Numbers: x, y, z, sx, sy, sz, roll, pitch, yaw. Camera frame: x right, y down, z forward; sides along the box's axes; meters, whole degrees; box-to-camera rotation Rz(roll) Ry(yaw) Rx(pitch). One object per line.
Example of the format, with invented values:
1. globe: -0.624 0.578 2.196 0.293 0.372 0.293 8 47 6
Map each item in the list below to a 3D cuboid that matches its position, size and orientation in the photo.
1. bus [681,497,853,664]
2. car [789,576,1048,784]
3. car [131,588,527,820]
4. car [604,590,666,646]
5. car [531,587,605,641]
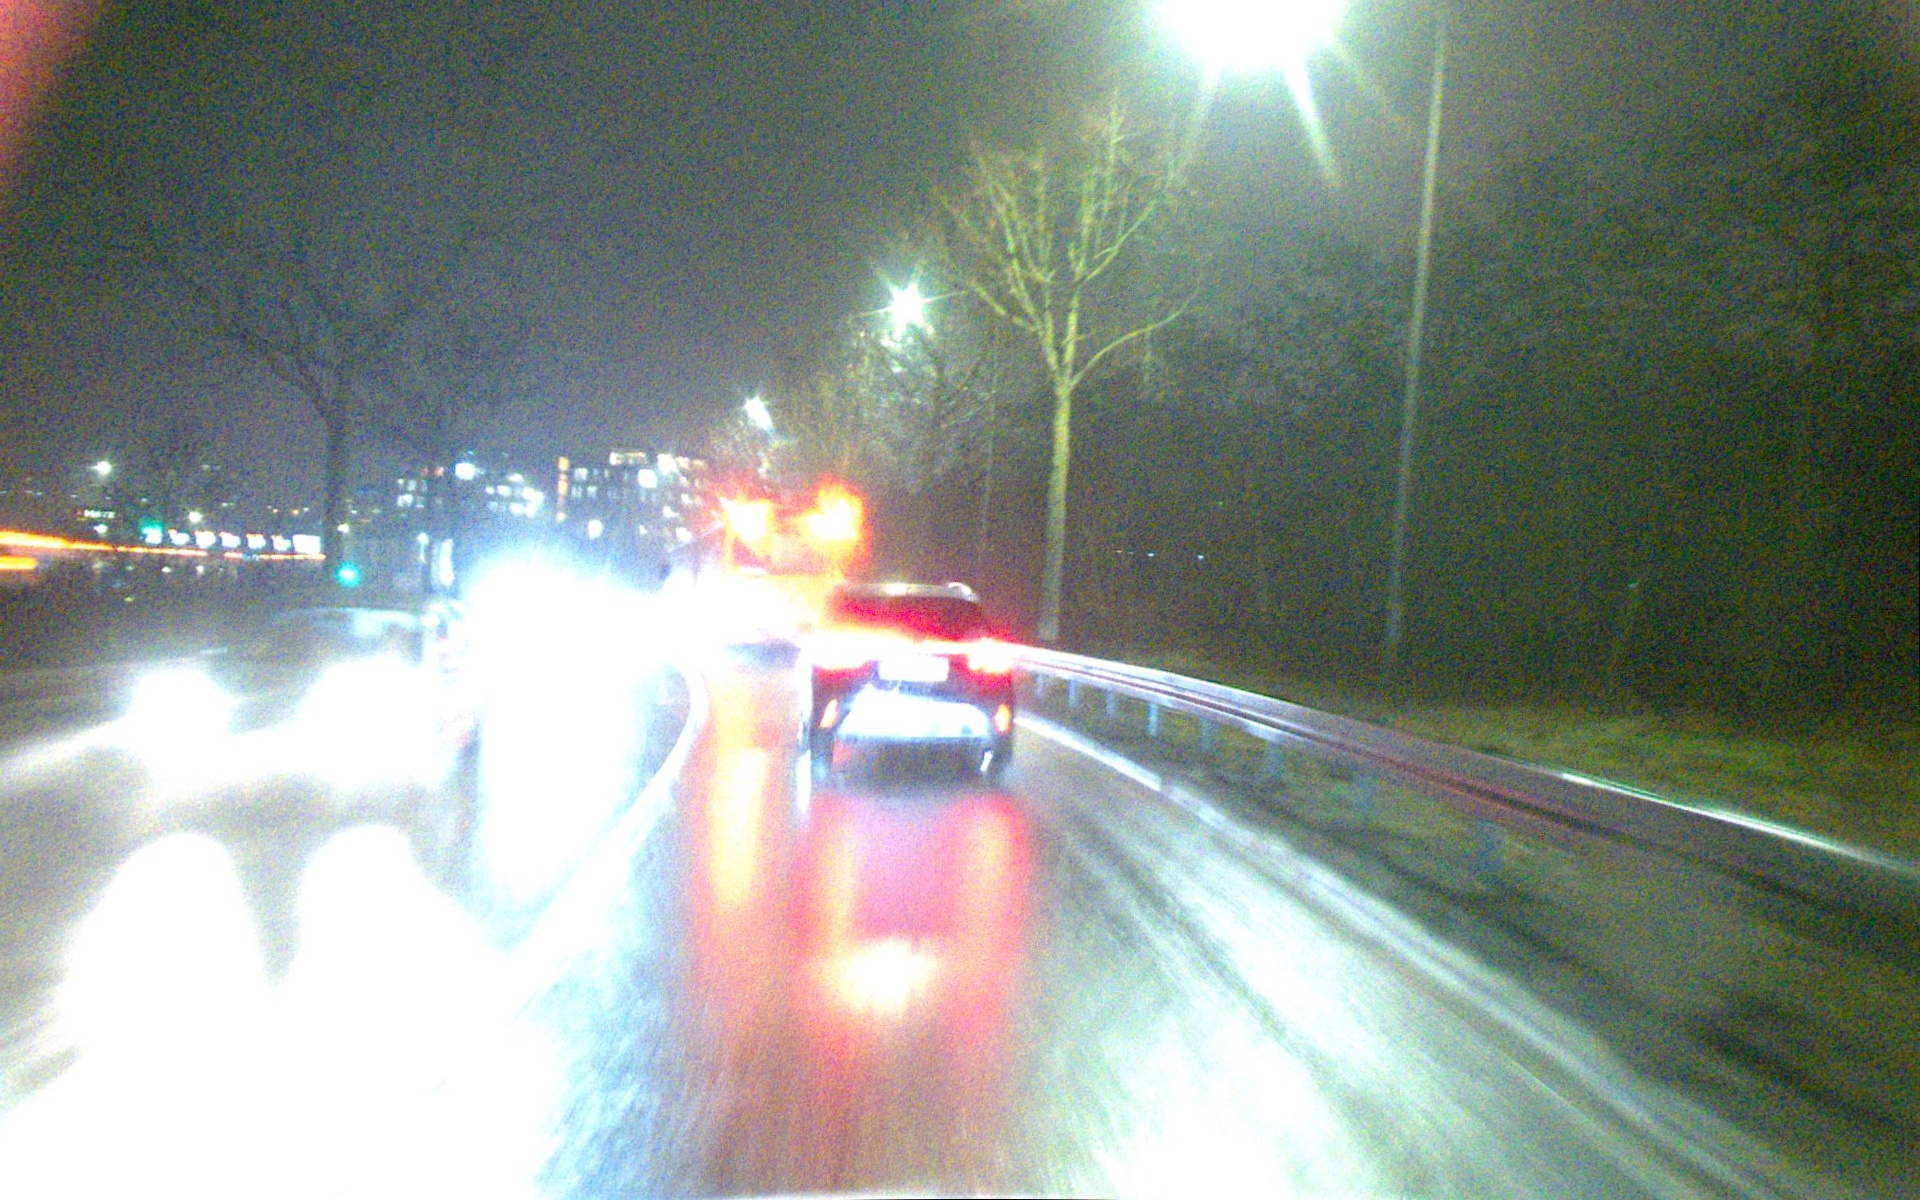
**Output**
1. bus: -4.523 -0.392 37.017 2.990 3.268 9.023 0 0 -12
2. car: -0.415 0.602 14.724 1.954 1.551 3.998 1 0 -3
3. car: -4.409 0.630 12.179 1.695 1.429 3.859 0 0 -5
4. car: -15.216 0.802 77.115 2.651 2.521 5.287 0 0 -13
5. car: -10.826 0.400 45.873 1.760 1.416 4.579 0 -1 -11
